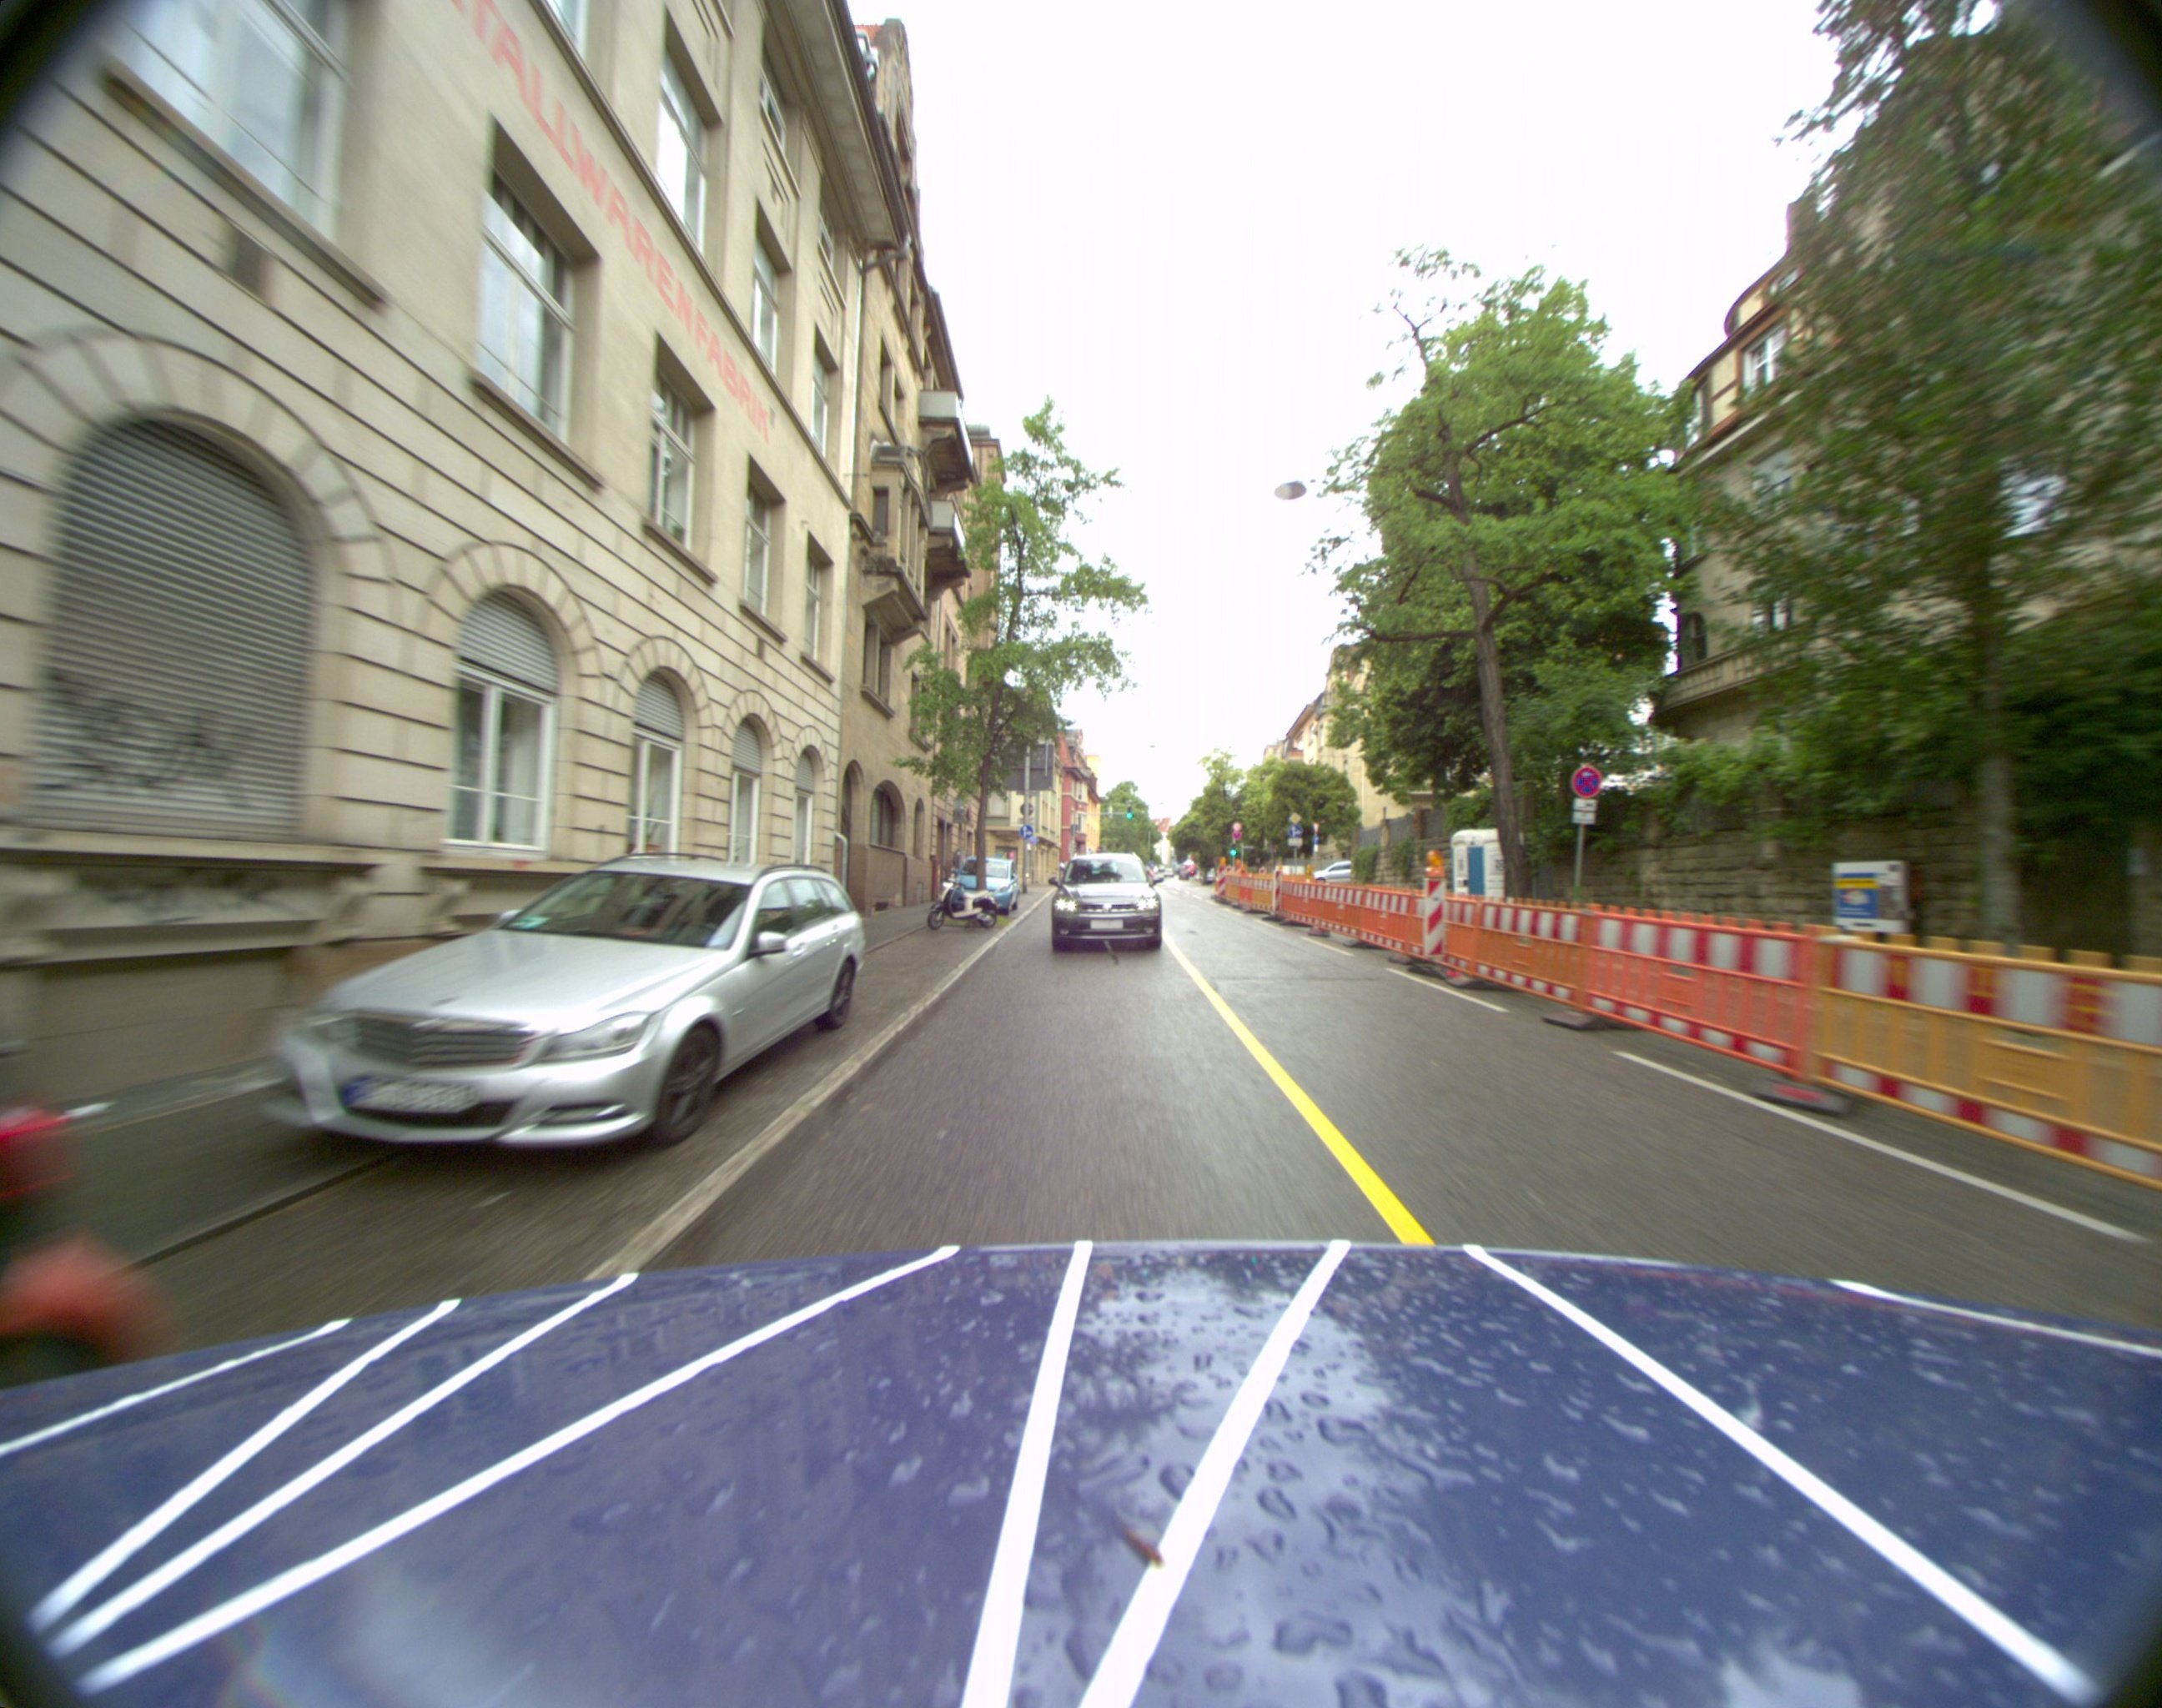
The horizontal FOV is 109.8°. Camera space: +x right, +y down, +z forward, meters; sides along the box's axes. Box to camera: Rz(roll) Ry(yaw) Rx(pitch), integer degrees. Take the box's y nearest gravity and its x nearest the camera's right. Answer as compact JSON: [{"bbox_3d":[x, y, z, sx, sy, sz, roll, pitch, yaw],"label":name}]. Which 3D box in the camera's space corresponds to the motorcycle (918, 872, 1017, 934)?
[{"bbox_3d":[-2.371,1.028,16.033,1.943,1.228,0.656,3,-1,-35],"label":"motorcycle"}]

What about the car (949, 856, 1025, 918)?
[{"bbox_3d":[-2.599,0.866,21.787,1.661,1.534,3.665,2,0,0],"label":"car"}]

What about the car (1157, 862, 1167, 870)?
[{"bbox_3d":[18.923,2.799,177.705,1.923,1.552,4.016,4,0,11],"label":"car"}]

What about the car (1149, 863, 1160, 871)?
[{"bbox_3d":[16.336,2.874,168.319,1.923,1.552,4.016,4,1,11],"label":"car"}]

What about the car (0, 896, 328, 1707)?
[{"bbox_3d":[-2.856,0.861,0.427,1.642,1.511,3.183,3,0,0],"label":"car"}]

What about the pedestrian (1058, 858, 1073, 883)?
[{"bbox_3d":[-1.110,1.156,54.155,0.722,1.763,0.664,3,-1,-32],"label":"pedestrian"}]

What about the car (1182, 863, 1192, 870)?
[{"bbox_3d":[23.378,2.676,167.774,1.714,1.471,4.118,3,0,13],"label":"car"}]

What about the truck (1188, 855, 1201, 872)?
[{"bbox_3d":[26.655,2.223,178.231,2.652,3.831,9.316,2,-1,11],"label":"truck"}]

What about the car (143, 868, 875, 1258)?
[{"bbox_3d":[-2.904,0.888,5.275,1.699,1.423,4.422,3,0,0],"label":"car"}]

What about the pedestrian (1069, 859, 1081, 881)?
[{"bbox_3d":[-0.412,1.162,55.116,0.599,1.575,0.664,3,-1,-21],"label":"pedestrian"}]

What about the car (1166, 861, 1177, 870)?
[{"bbox_3d":[17.292,2.192,144.718,1.775,1.508,4.103,1,0,10],"label":"car"}]

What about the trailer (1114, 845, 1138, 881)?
[{"bbox_3d":[3.990,0.770,66.539,1.966,3.023,2.366,-1,0,5],"label":"trailer"}]

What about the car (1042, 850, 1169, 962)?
[{"bbox_3d":[0.456,0.821,13.807,1.859,1.641,5.197,0,-1,2],"label":"car"}]

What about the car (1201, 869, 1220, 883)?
[{"bbox_3d":[15.966,2.648,93.812,1.745,1.550,4.304,-3,-1,4],"label":"car"}]

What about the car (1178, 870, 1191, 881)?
[{"bbox_3d":[18.364,3.835,134.896,1.819,1.507,4.552,3,-4,3],"label":"car"}]

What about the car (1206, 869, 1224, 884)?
[{"bbox_3d":[15.055,2.541,85.637,1.745,1.550,4.305,-1,-1,7],"label":"car"}]

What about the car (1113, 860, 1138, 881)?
[{"bbox_3d":[3.740,1.370,63.379,1.924,1.641,4.137,-1,-1,5],"label":"car"}]

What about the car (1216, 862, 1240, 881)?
[{"bbox_3d":[12.446,1.472,64.545,1.745,1.550,4.305,-1,-1,7],"label":"car"}]

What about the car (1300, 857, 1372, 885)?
[{"bbox_3d":[15.370,1.017,46.010,3.868,1.401,1.827,-3,1,12],"label":"car"}]

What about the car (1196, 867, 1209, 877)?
[{"bbox_3d":[20.488,3.025,127.991,1.745,1.550,4.304,-1,-1,5],"label":"car"}]
